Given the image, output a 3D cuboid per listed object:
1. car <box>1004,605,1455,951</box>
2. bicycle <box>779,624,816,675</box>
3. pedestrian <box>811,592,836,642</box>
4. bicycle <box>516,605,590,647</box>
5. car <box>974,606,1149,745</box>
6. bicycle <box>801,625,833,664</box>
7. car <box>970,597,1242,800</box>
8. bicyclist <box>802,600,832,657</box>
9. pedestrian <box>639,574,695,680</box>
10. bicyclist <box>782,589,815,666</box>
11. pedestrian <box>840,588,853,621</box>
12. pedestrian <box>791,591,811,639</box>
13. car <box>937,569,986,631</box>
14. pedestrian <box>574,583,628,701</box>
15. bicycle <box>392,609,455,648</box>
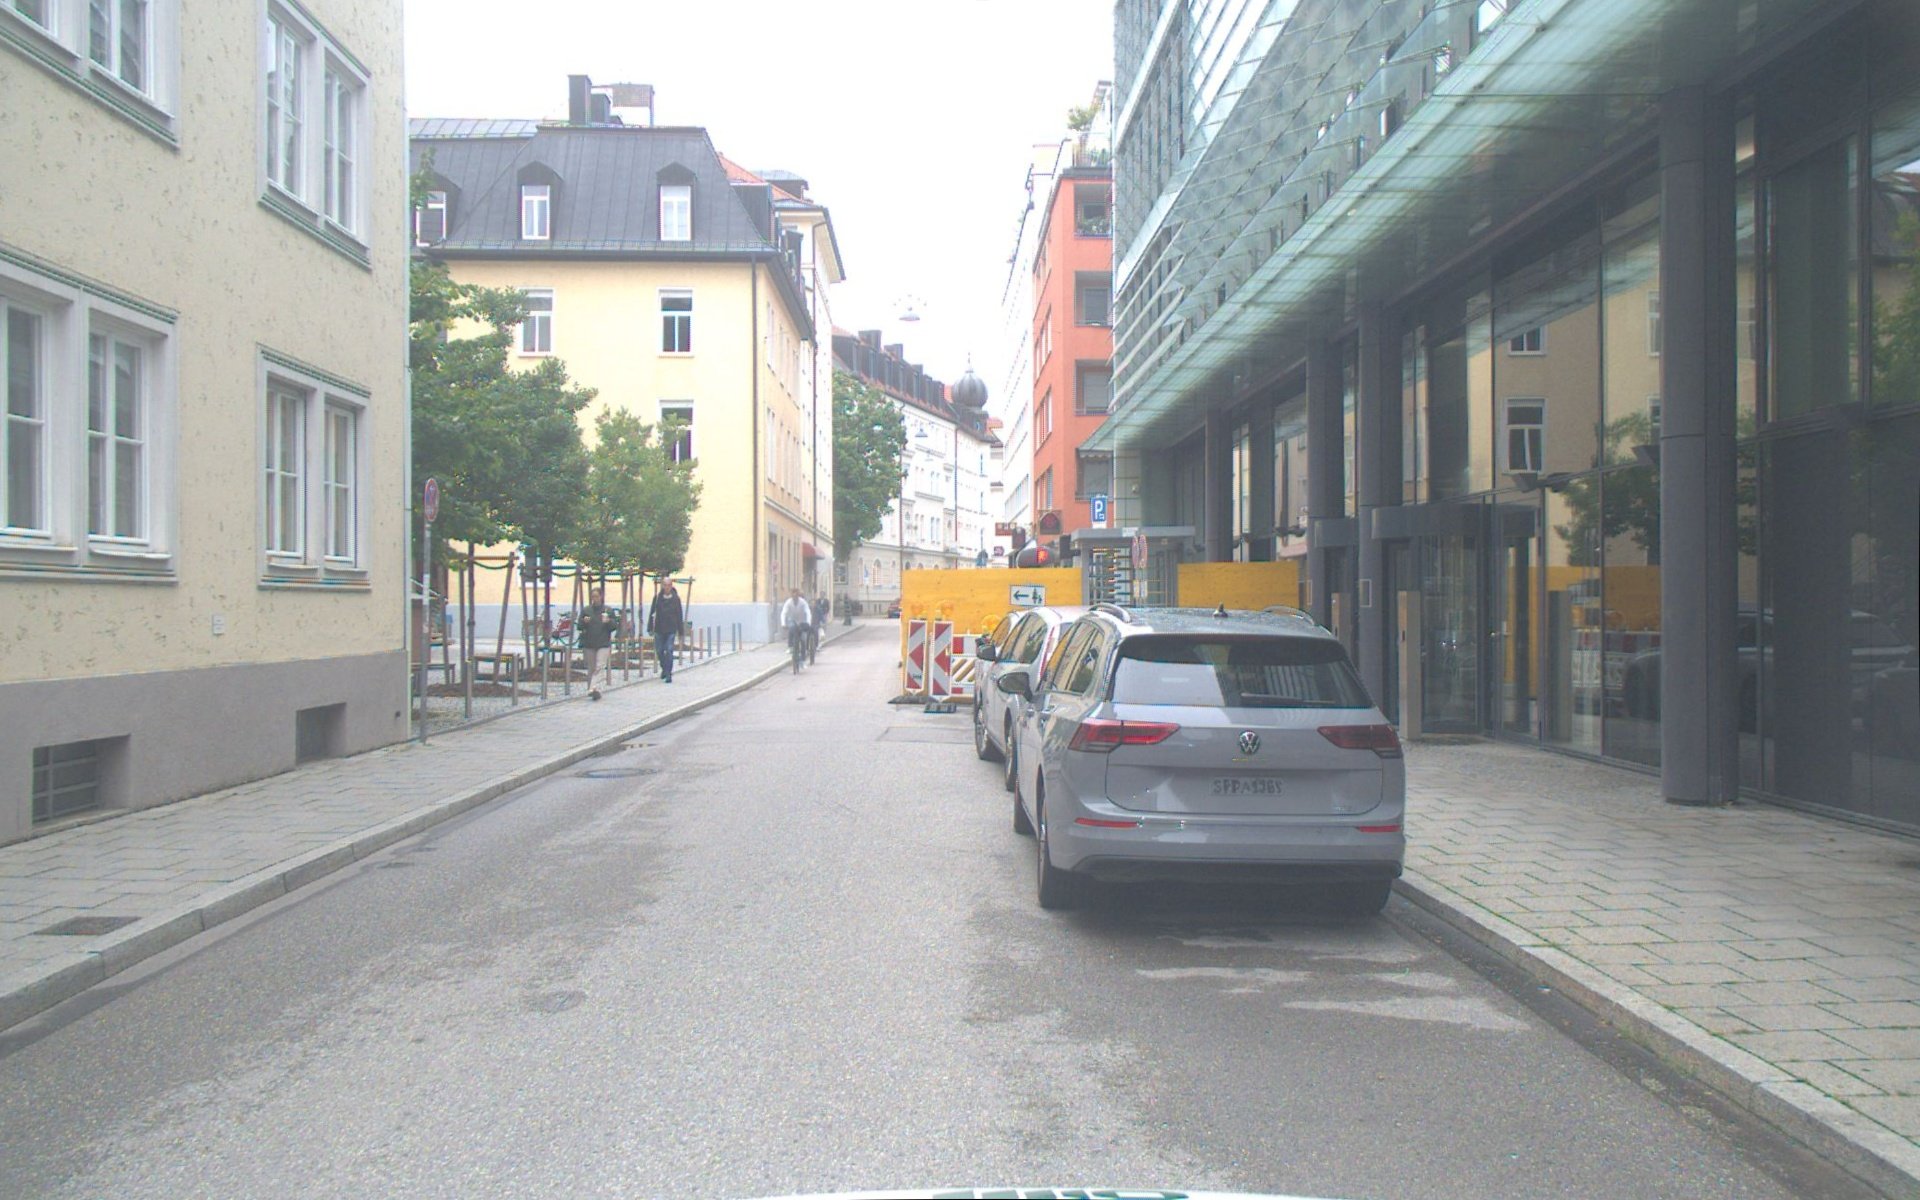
[{"bbox_3d":[1.209,0.760,9.210,1.673,1.457,4.327,0,0,-2],"label":"car"},{"bbox_3d":[-3.573,1.069,36.484,0.648,1.057,2.004,-1,0,-2],"label":"bicycle"},{"bbox_3d":[-4.812,0.598,58.337,0.822,1.730,0.802,0,-1,-2],"label":"pedestrian"},{"bbox_3d":[-11.885,0.750,48.321,2.000,1.218,0.570,0,0,5],"label":"bicycle"},{"bbox_3d":[1.090,0.809,19.661,1.673,1.439,4.508,1,0,-2],"label":"car"},{"bbox_3d":[-3.529,1.089,40.923,0.693,0.921,1.809,-1,0,-2],"label":"bicycle"},{"bbox_3d":[1.110,0.750,14.502,1.674,1.493,4.233,1,0,-5],"label":"car"},{"bbox_3d":[-3.538,0.695,40.984,0.693,1.395,0.813,-1,0,-2],"label":"bicyclist"},{"bbox_3d":[-5.401,0.489,30.576,0.850,1.914,1.134,0,0,-2],"label":"pedestrian"},{"bbox_3d":[-3.572,0.608,36.616,0.646,1.671,0.895,-1,0,-2],"label":"bicyclist"},{"bbox_3d":[-5.791,0.226,84.576,0.622,1.704,0.517,0,0,-2],"label":"pedestrian"},{"bbox_3d":[-5.625,0.541,58.628,0.657,1.677,0.761,0,-1,-2],"label":"pedestrian"},{"bbox_3d":[0.033,0.003,71.768,1.953,2.581,4.973,0,0,-2],"label":"car"},{"bbox_3d":[-5.284,0.610,24.381,0.634,1.706,0.723,0,-1,-2],"label":"pedestrian"},{"bbox_3d":[-15.549,0.825,47.943,1.621,1.088,0.598,1,0,2],"label":"bicycle"}]
